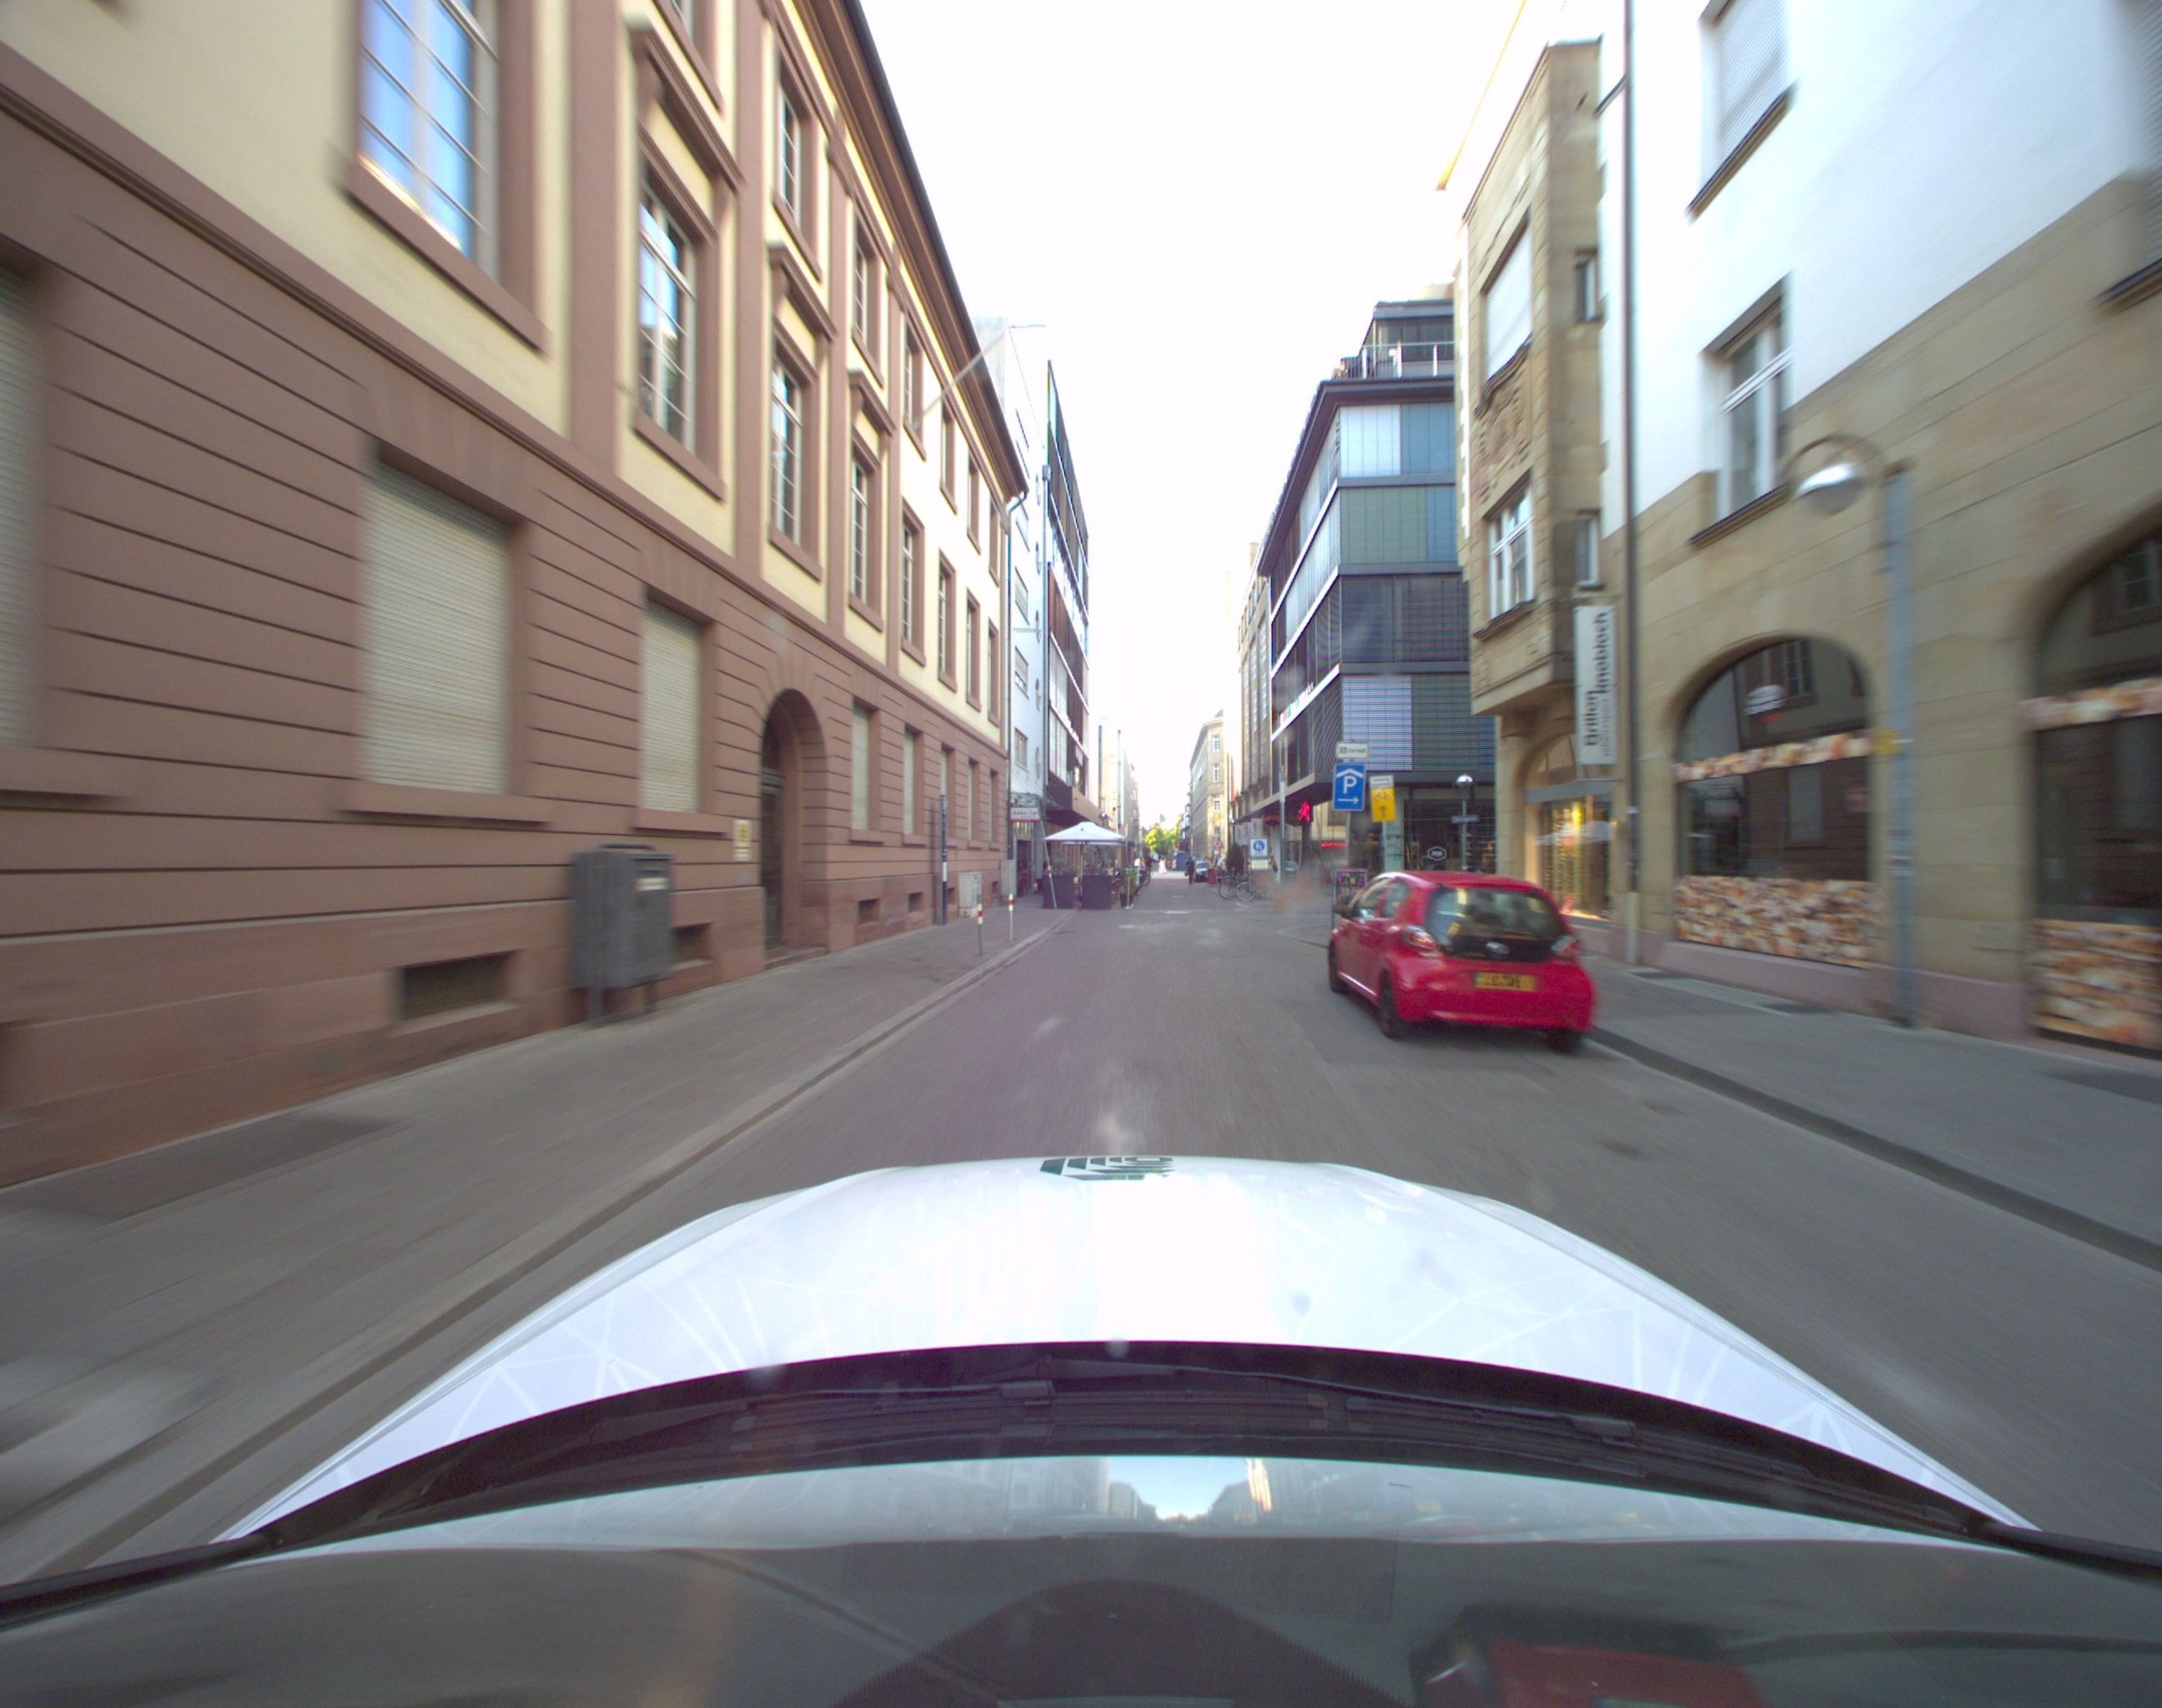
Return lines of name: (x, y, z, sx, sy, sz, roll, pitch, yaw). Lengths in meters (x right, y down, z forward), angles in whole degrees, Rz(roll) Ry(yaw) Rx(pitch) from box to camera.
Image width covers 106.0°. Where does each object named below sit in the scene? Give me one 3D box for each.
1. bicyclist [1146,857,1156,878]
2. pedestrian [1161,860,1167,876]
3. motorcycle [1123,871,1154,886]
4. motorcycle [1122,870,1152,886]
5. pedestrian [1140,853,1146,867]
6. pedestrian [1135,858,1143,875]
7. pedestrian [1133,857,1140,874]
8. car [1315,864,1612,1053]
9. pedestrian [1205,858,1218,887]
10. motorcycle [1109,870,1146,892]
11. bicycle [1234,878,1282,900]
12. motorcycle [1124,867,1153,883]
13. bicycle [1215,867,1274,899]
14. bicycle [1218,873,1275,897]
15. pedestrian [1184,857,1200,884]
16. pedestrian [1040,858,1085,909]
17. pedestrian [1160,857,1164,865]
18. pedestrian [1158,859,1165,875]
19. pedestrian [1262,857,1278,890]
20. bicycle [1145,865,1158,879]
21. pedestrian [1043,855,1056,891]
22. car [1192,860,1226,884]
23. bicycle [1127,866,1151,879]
bicyclist: (5.622, 1.066, 65.375, 0.635, 1.641, 0.771, 0, -1, -4)
pedestrian: (8.388, 1.371, 82.213, 0.600, 1.623, 0.530, 0, -1, 7)
motorcycle: (3.416, 1.470, 48.309, 1.795, 0.875, 0.560, 0, -1, 1)
motorcycle: (3.389, 1.460, 49.342, 1.795, 0.990, 0.560, 0, -1, 1)
pedestrian: (7.558, 0.749, 99.065, 0.675, 1.623, 0.627, 0, -1, 7)
pedestrian: (5.533, 1.149, 77.605, 0.603, 1.623, 0.528, 0, -1, -5)
pedestrian: (5.346, 1.136, 78.268, 0.603, 1.623, 0.528, 0, -1, -5)
car: (3.572, 0.853, 8.306, 1.641, 1.427, 3.541, 2, 0, 6)
pedestrian: (7.305, 1.021, 45.585, 0.631, 1.620, 0.466, 0, -1, -4)
motorcycle: (2.307, 1.332, 40.178, 1.795, 1.040, 0.494, 0, -1, 1)
bicycle: (6.174, 1.217, 28.400, 1.559, 0.768, 0.557, 0, -1, 1)
motorcycle: (3.580, 1.309, 50.979, 1.795, 0.990, 0.560, 0, -1, 1)
bicycle: (5.996, 1.071, 29.968, 2.044, 1.134, 0.649, 0, -1, 1)
bicycle: (6.632, 1.237, 32.677, 2.192, 0.906, 0.649, 0, -1, 1)
pedestrian: (7.304, 1.083, 53.695, 0.864, 1.713, 0.851, 0, -1, -3)
pedestrian: (-0.537, 0.879, 24.432, 1.285, 1.488, 0.662, 0, -1, 3)
pedestrian: (16.477, 1.376, 165.932, 0.800, 1.673, 0.890, -1, -1, 7)
pedestrian: (8.183, 1.361, 82.841, 0.600, 1.623, 0.627, 0, -1, 7)
pedestrian: (8.708, 0.898, 37.560, 0.652, 1.488, 0.494, 0, -1, 9)
bicycle: (5.632, 1.428, 65.267, 0.635, 1.157, 2.498, 0, -1, -3)
pedestrian: (-1.329, 0.798, 34.005, 0.489, 1.488, 0.566, 0, -1, 3)
car: (8.899, 1.212, 56.984, 1.985, 1.611, 4.004, 0, -1, 4)
bicycle: (3.912, 1.251, 54.837, 1.524, 0.896, 0.482, 0, -1, -23)
